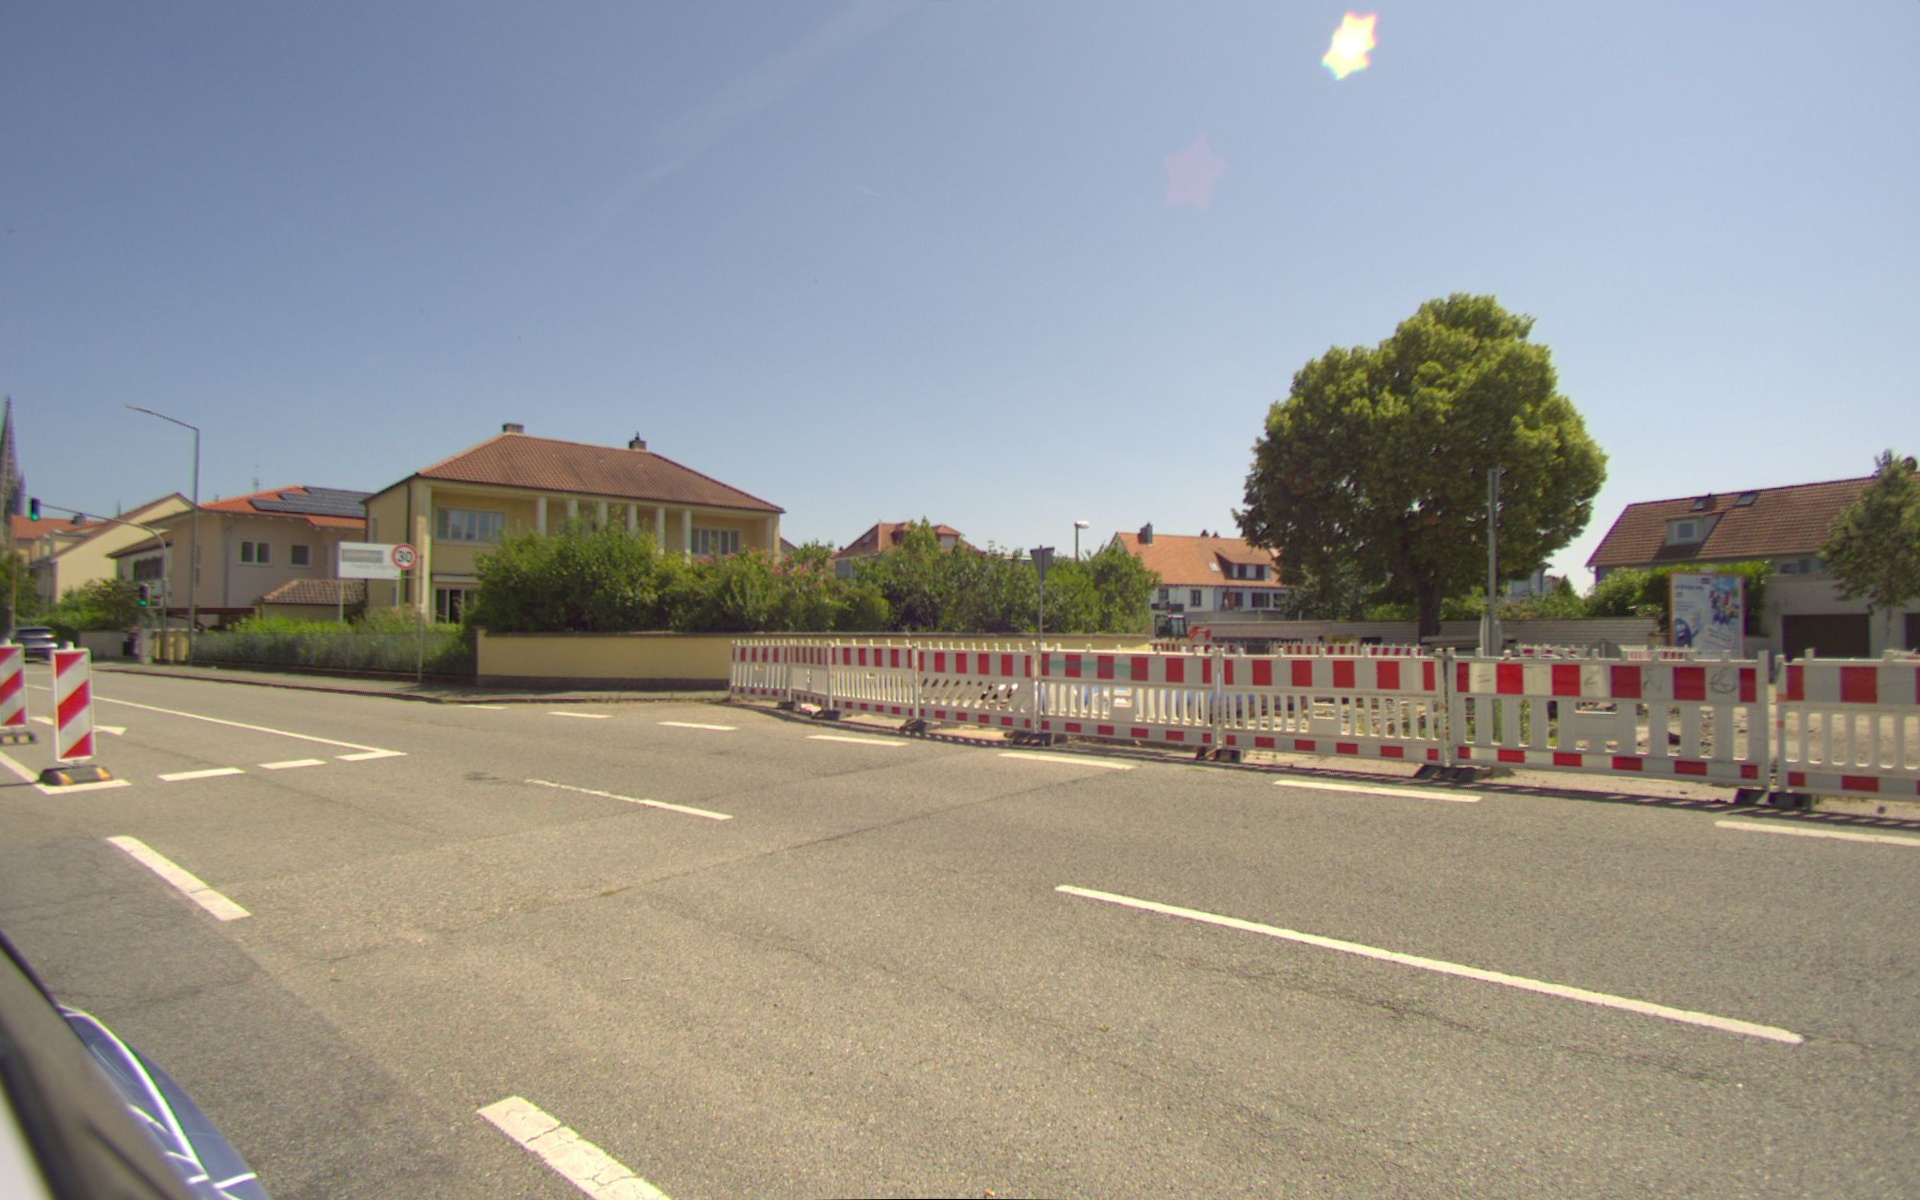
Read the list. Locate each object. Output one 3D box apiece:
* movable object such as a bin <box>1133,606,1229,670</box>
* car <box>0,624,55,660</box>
[{"bbox_3d":[9.929,1.732,45.725,2.239,2.756,3.943,2,-3,-29],"label":"movable object such as a bin"},{"bbox_3d":[-42.722,1.898,46.345,3.318,1.589,1.372,-2,-3,40],"label":"car"}]
